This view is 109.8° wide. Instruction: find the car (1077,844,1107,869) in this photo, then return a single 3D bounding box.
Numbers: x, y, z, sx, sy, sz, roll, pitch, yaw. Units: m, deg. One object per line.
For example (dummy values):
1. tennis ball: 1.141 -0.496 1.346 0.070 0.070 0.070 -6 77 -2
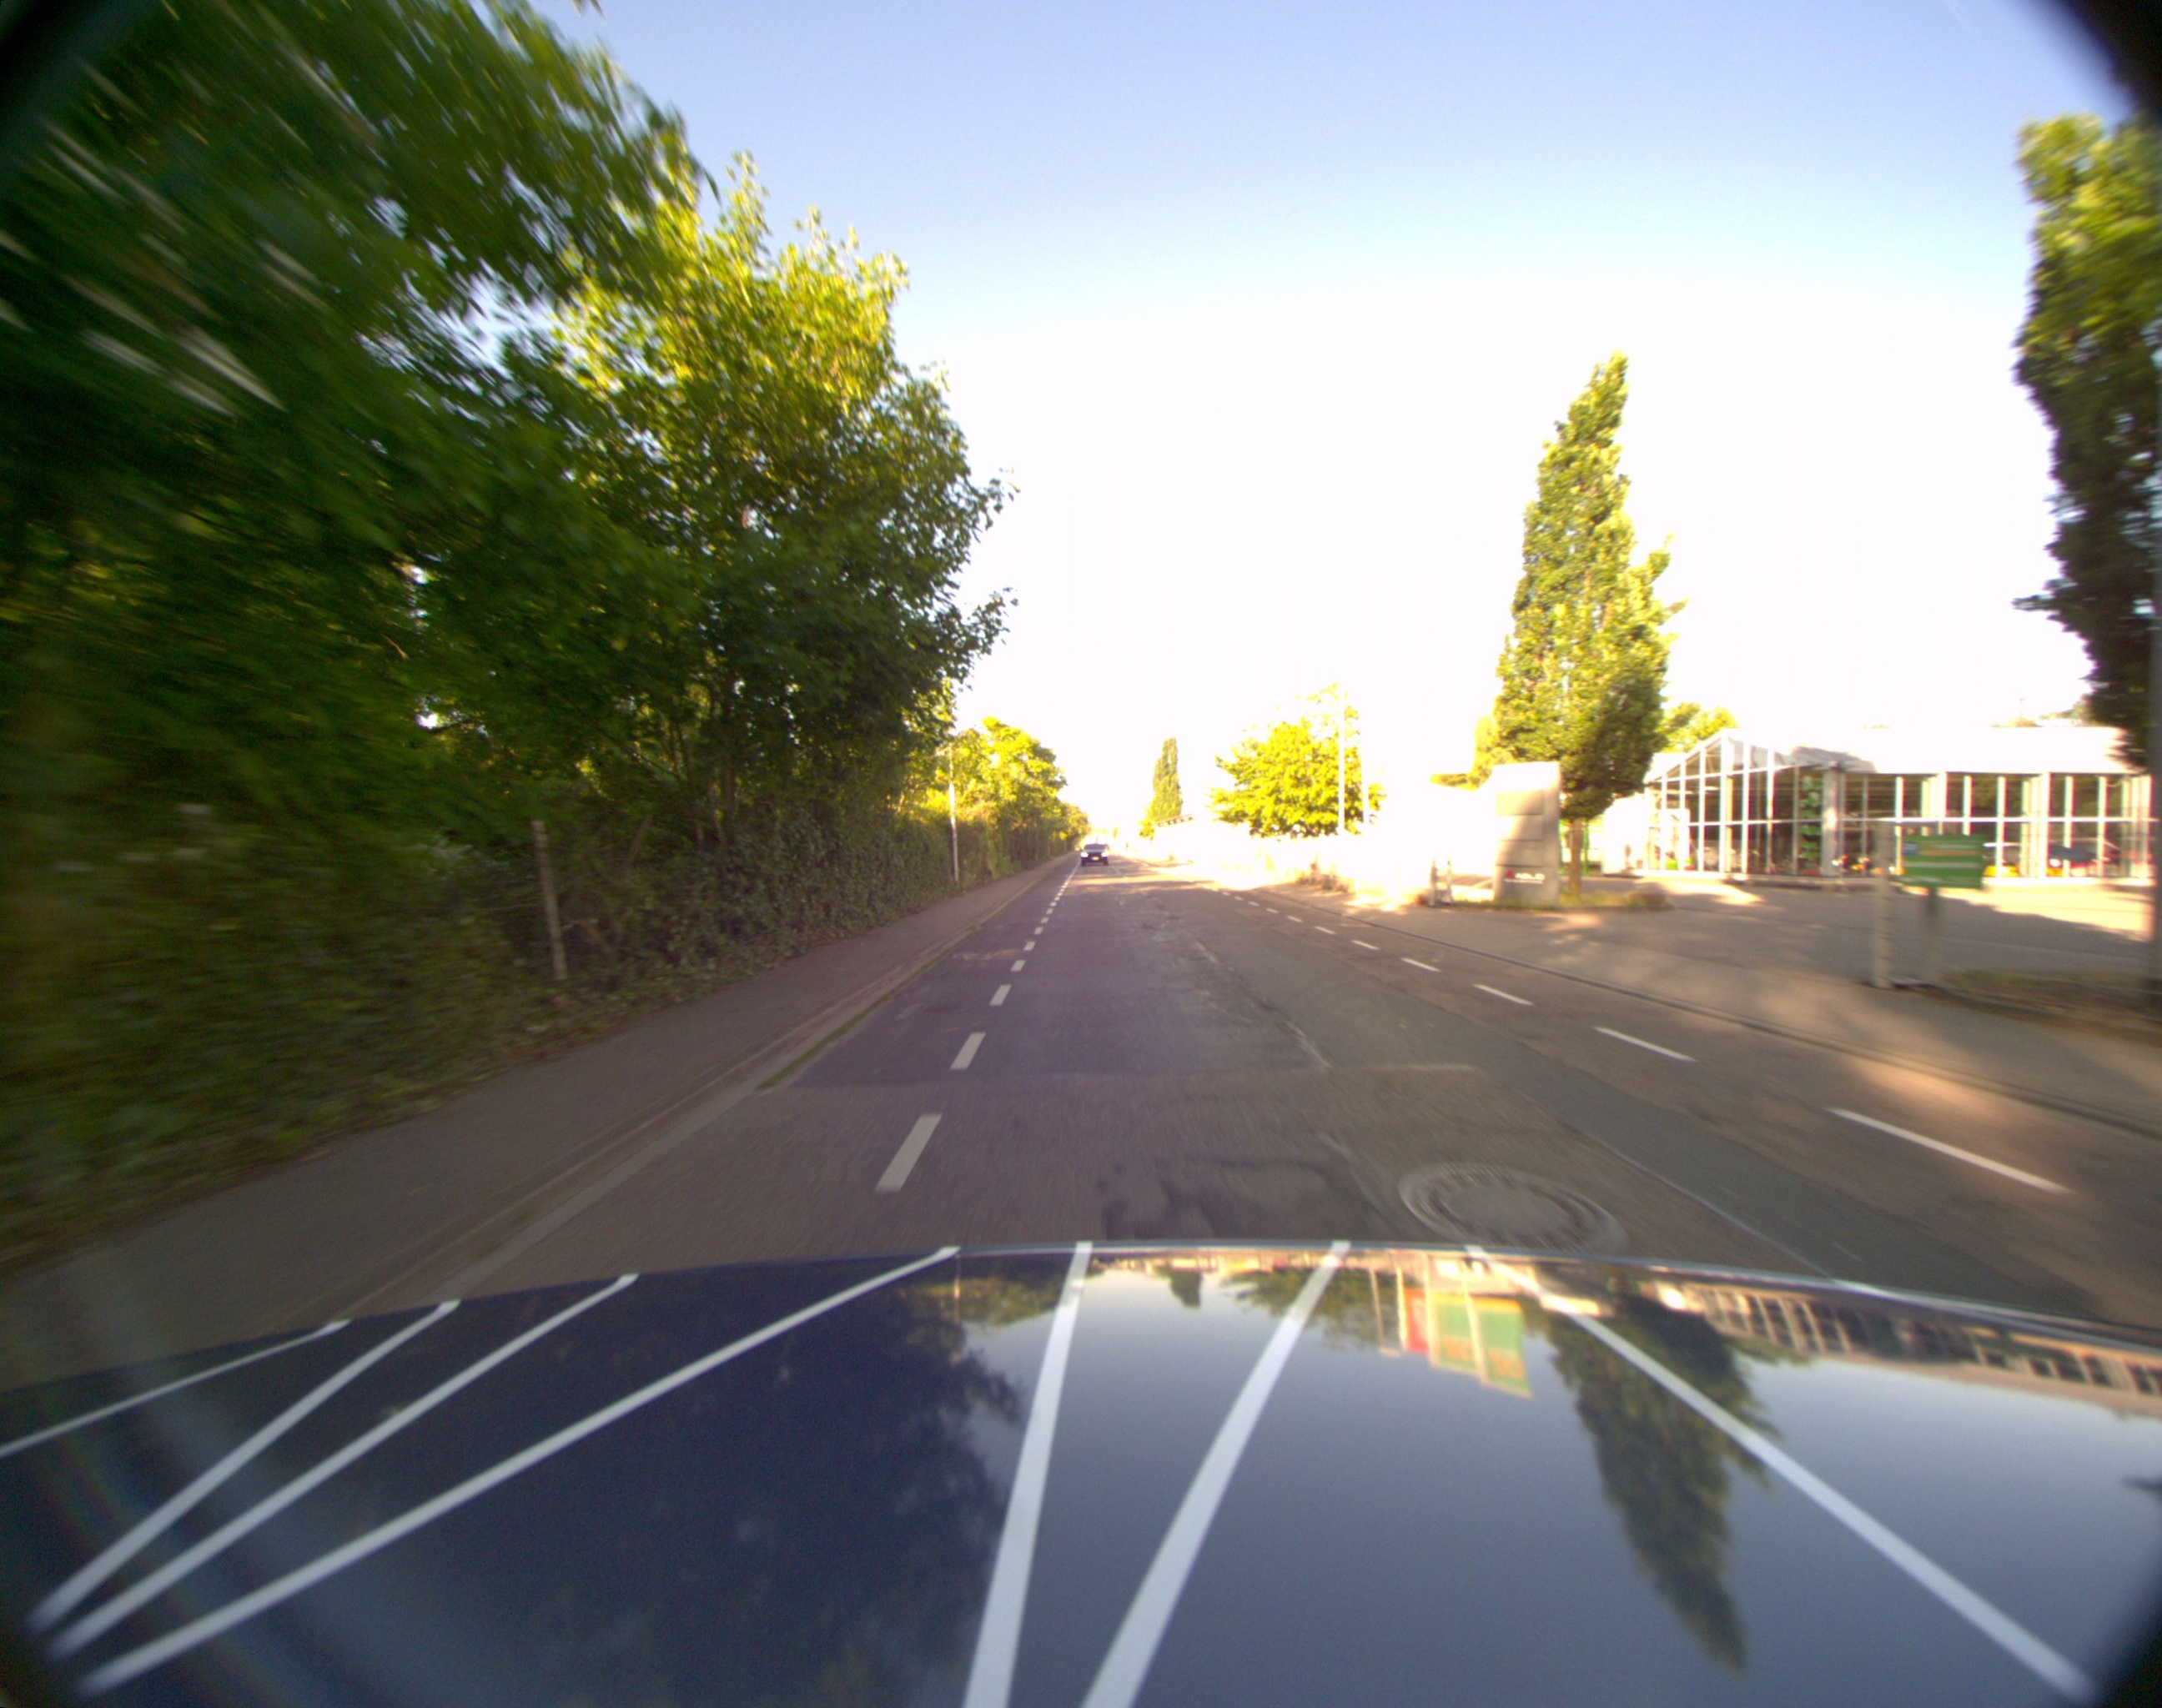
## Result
1. car: 0.751 0.156 54.783 1.998 1.608 3.999 -4 1 0
